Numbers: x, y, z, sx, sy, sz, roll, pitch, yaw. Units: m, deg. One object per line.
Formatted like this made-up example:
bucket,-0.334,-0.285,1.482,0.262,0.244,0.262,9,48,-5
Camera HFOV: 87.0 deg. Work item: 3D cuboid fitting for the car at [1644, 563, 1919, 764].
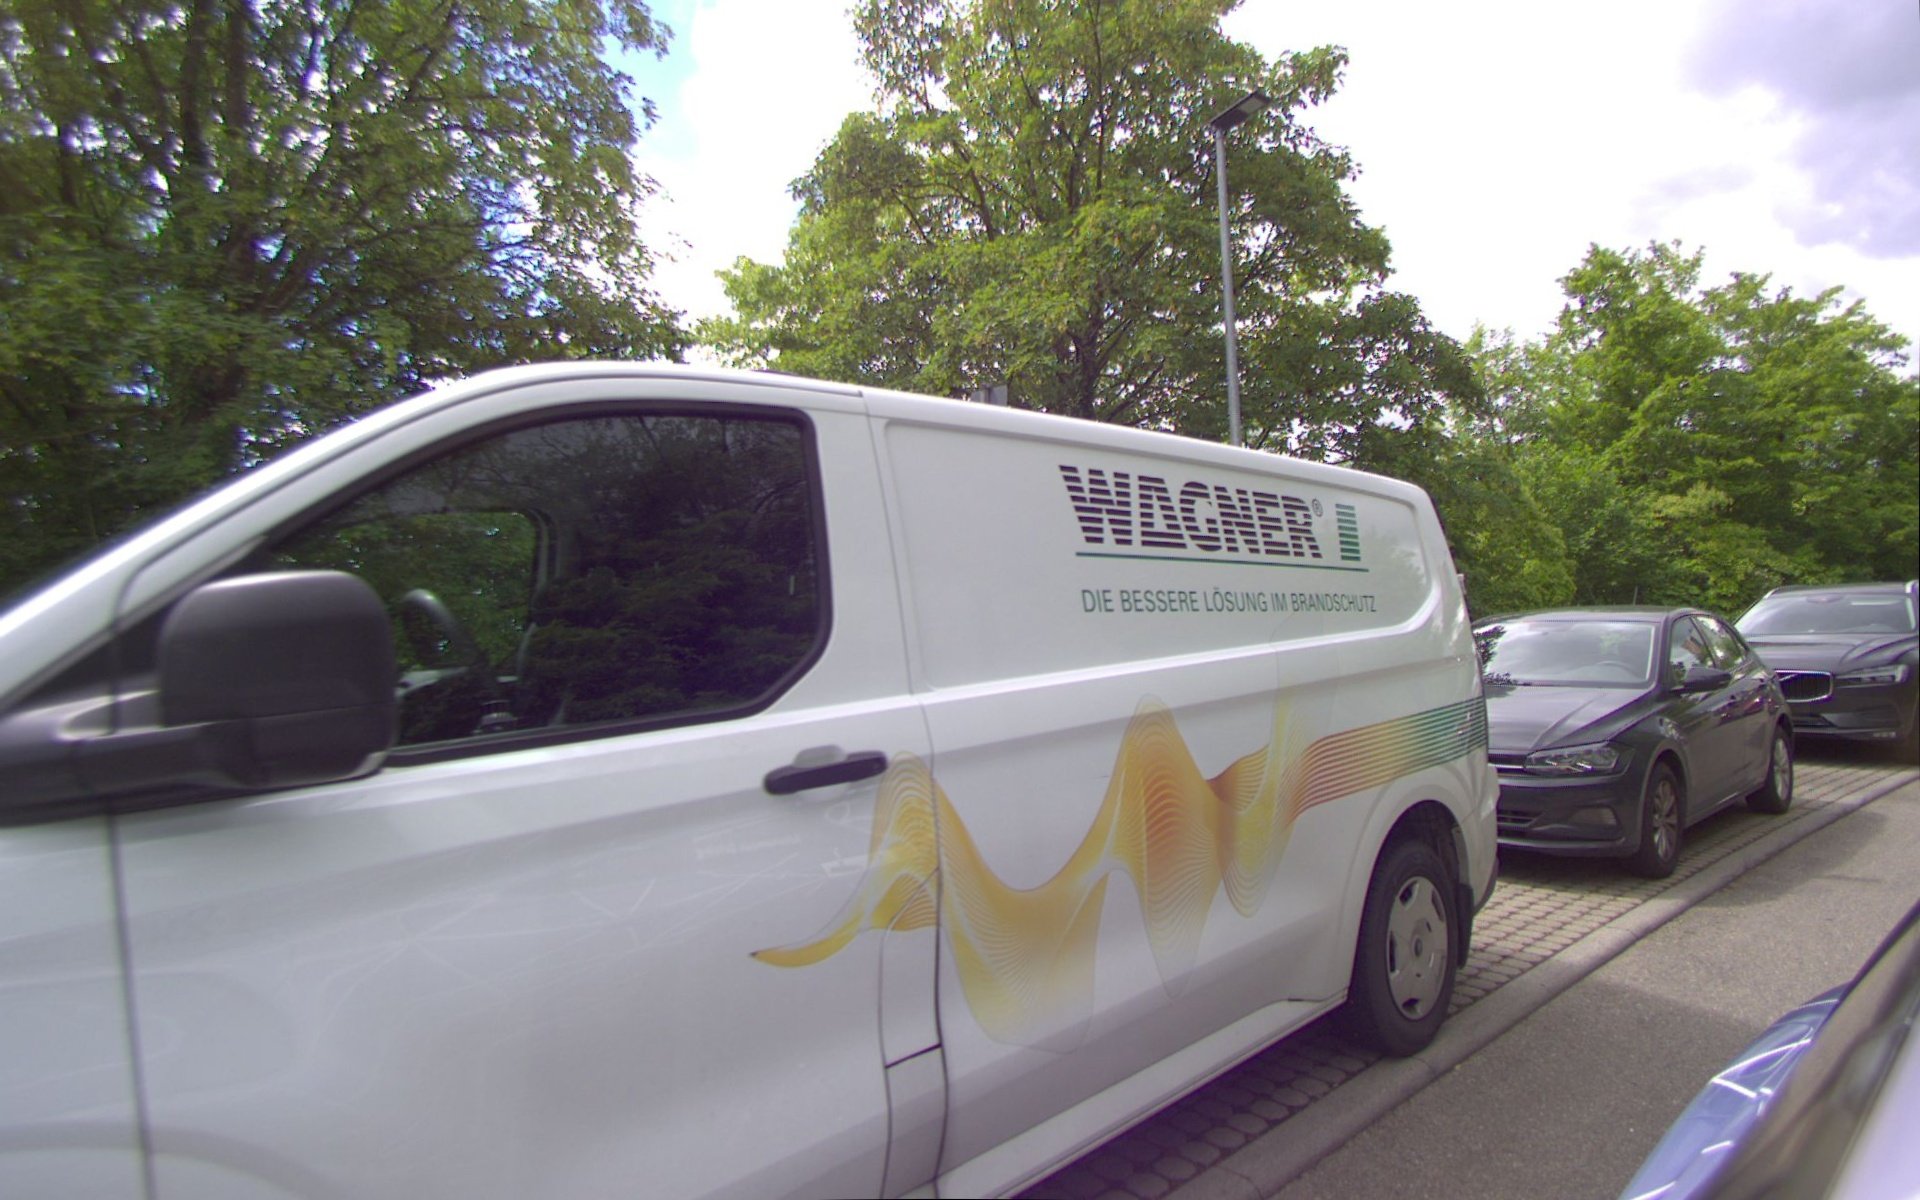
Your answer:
car,9.031,0.511,10.303,4.196,1.647,2.000,-1,-1,-34

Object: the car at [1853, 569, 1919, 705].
car,14.182,0.397,13.639,4.489,1.711,1.878,-1,-4,-32

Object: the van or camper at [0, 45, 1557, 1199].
van or camper,-0.414,0.460,2.764,5.175,1.945,1.996,0,-2,-42

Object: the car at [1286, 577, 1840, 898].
car,4.123,0.664,6.700,3.928,1.483,1.801,-1,-2,-38
